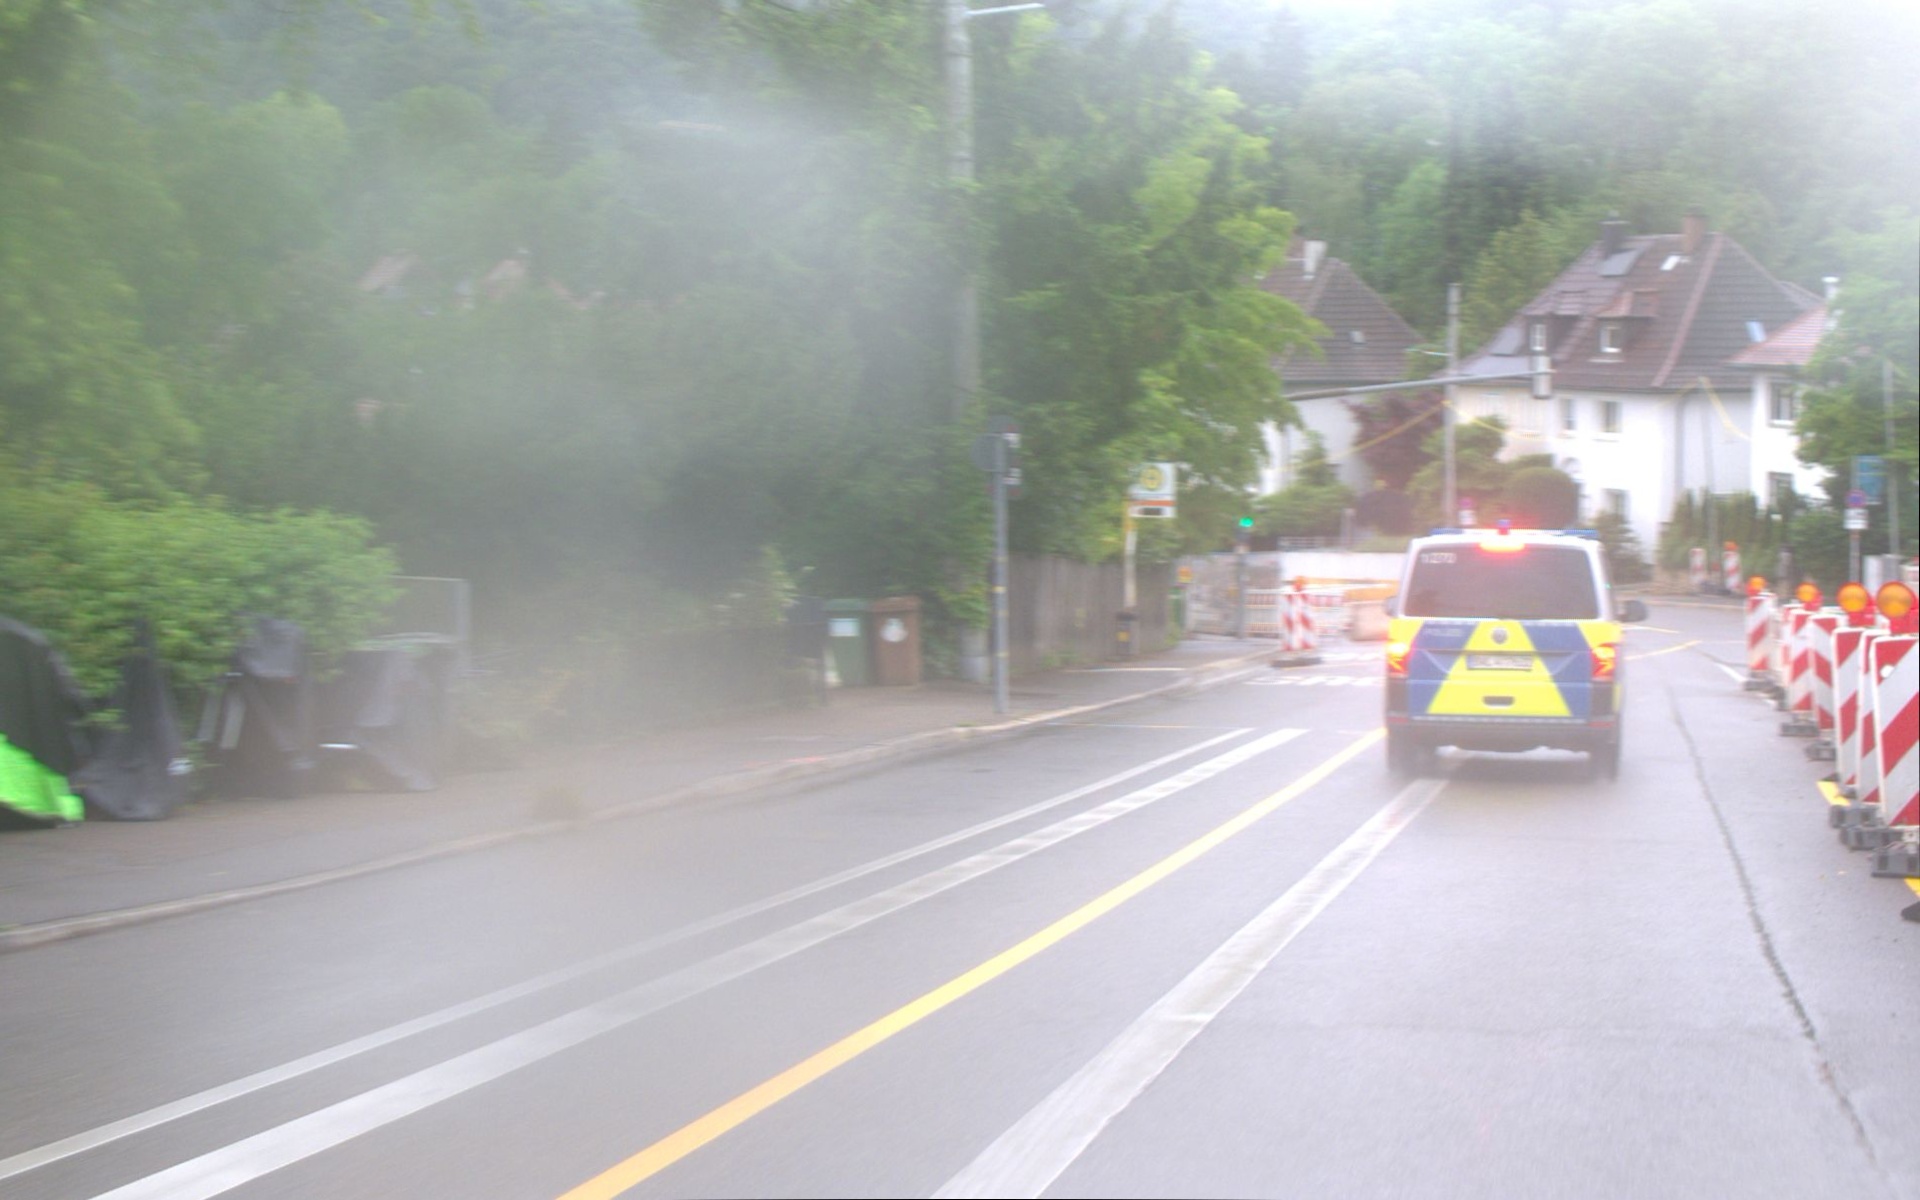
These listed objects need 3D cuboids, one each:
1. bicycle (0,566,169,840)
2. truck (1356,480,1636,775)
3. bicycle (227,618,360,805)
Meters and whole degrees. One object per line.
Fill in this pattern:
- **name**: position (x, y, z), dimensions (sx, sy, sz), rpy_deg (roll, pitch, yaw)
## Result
- **bicycle**: position (-4.664, 0.514, 17.791), dimensions (0.420, 1.345, 1.742), rpy_deg (1, 0, 11)
- **truck**: position (4.562, 0.139, 28.697), dimensions (1.994, 2.006, 4.733), rpy_deg (0, 5, 12)
- **bicycle**: position (-4.063, 0.669, 21.031), dimensions (0.338, 1.104, 1.255), rpy_deg (1, 0, 11)
